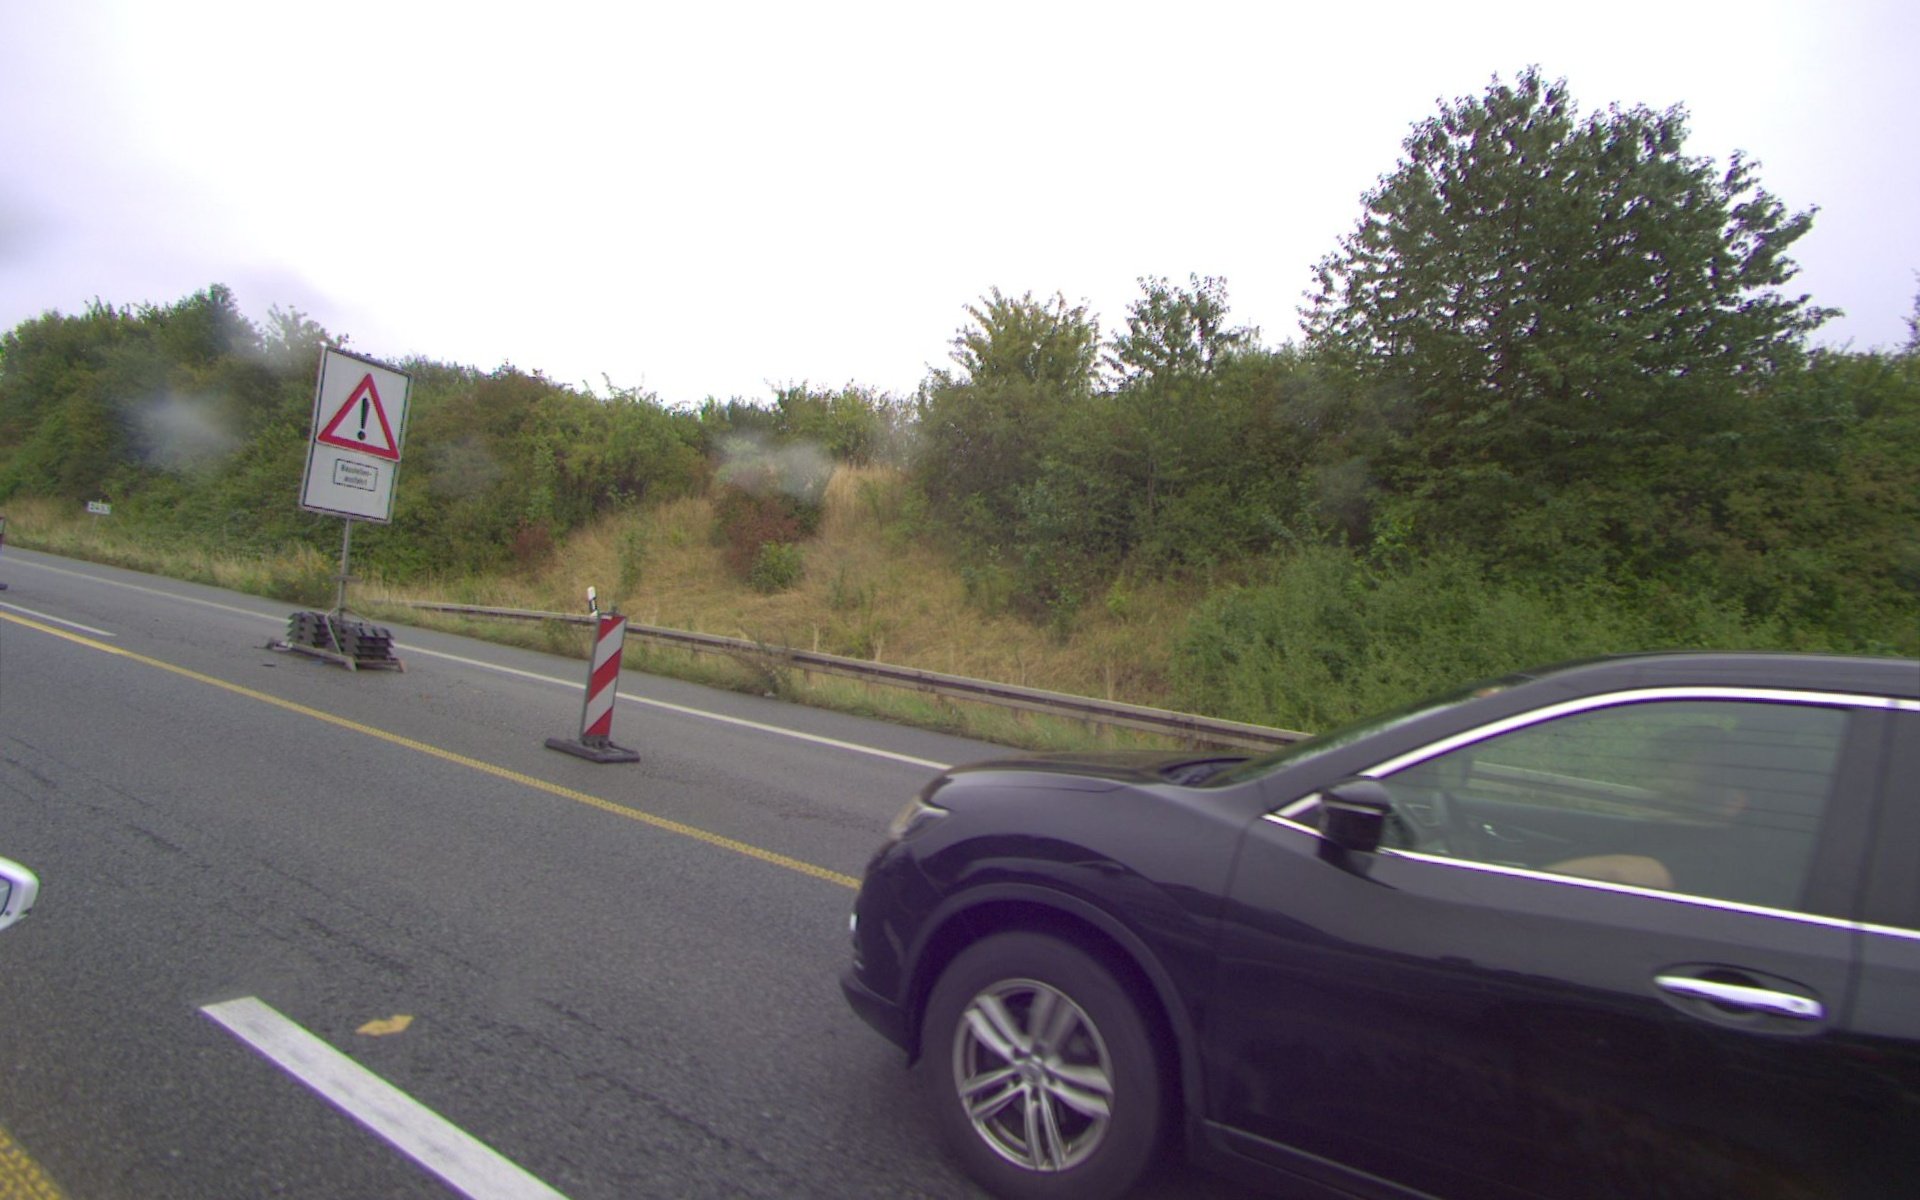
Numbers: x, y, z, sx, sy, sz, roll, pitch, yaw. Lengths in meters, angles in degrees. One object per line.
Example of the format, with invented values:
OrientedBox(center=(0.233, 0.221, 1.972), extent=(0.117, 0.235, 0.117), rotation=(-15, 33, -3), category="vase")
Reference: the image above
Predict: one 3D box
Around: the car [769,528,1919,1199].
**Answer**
OrientedBox(center=(1.753, 0.905, 2.640), extent=(4.208, 1.678, 1.688), rotation=(7, -1, 30), category="car")
